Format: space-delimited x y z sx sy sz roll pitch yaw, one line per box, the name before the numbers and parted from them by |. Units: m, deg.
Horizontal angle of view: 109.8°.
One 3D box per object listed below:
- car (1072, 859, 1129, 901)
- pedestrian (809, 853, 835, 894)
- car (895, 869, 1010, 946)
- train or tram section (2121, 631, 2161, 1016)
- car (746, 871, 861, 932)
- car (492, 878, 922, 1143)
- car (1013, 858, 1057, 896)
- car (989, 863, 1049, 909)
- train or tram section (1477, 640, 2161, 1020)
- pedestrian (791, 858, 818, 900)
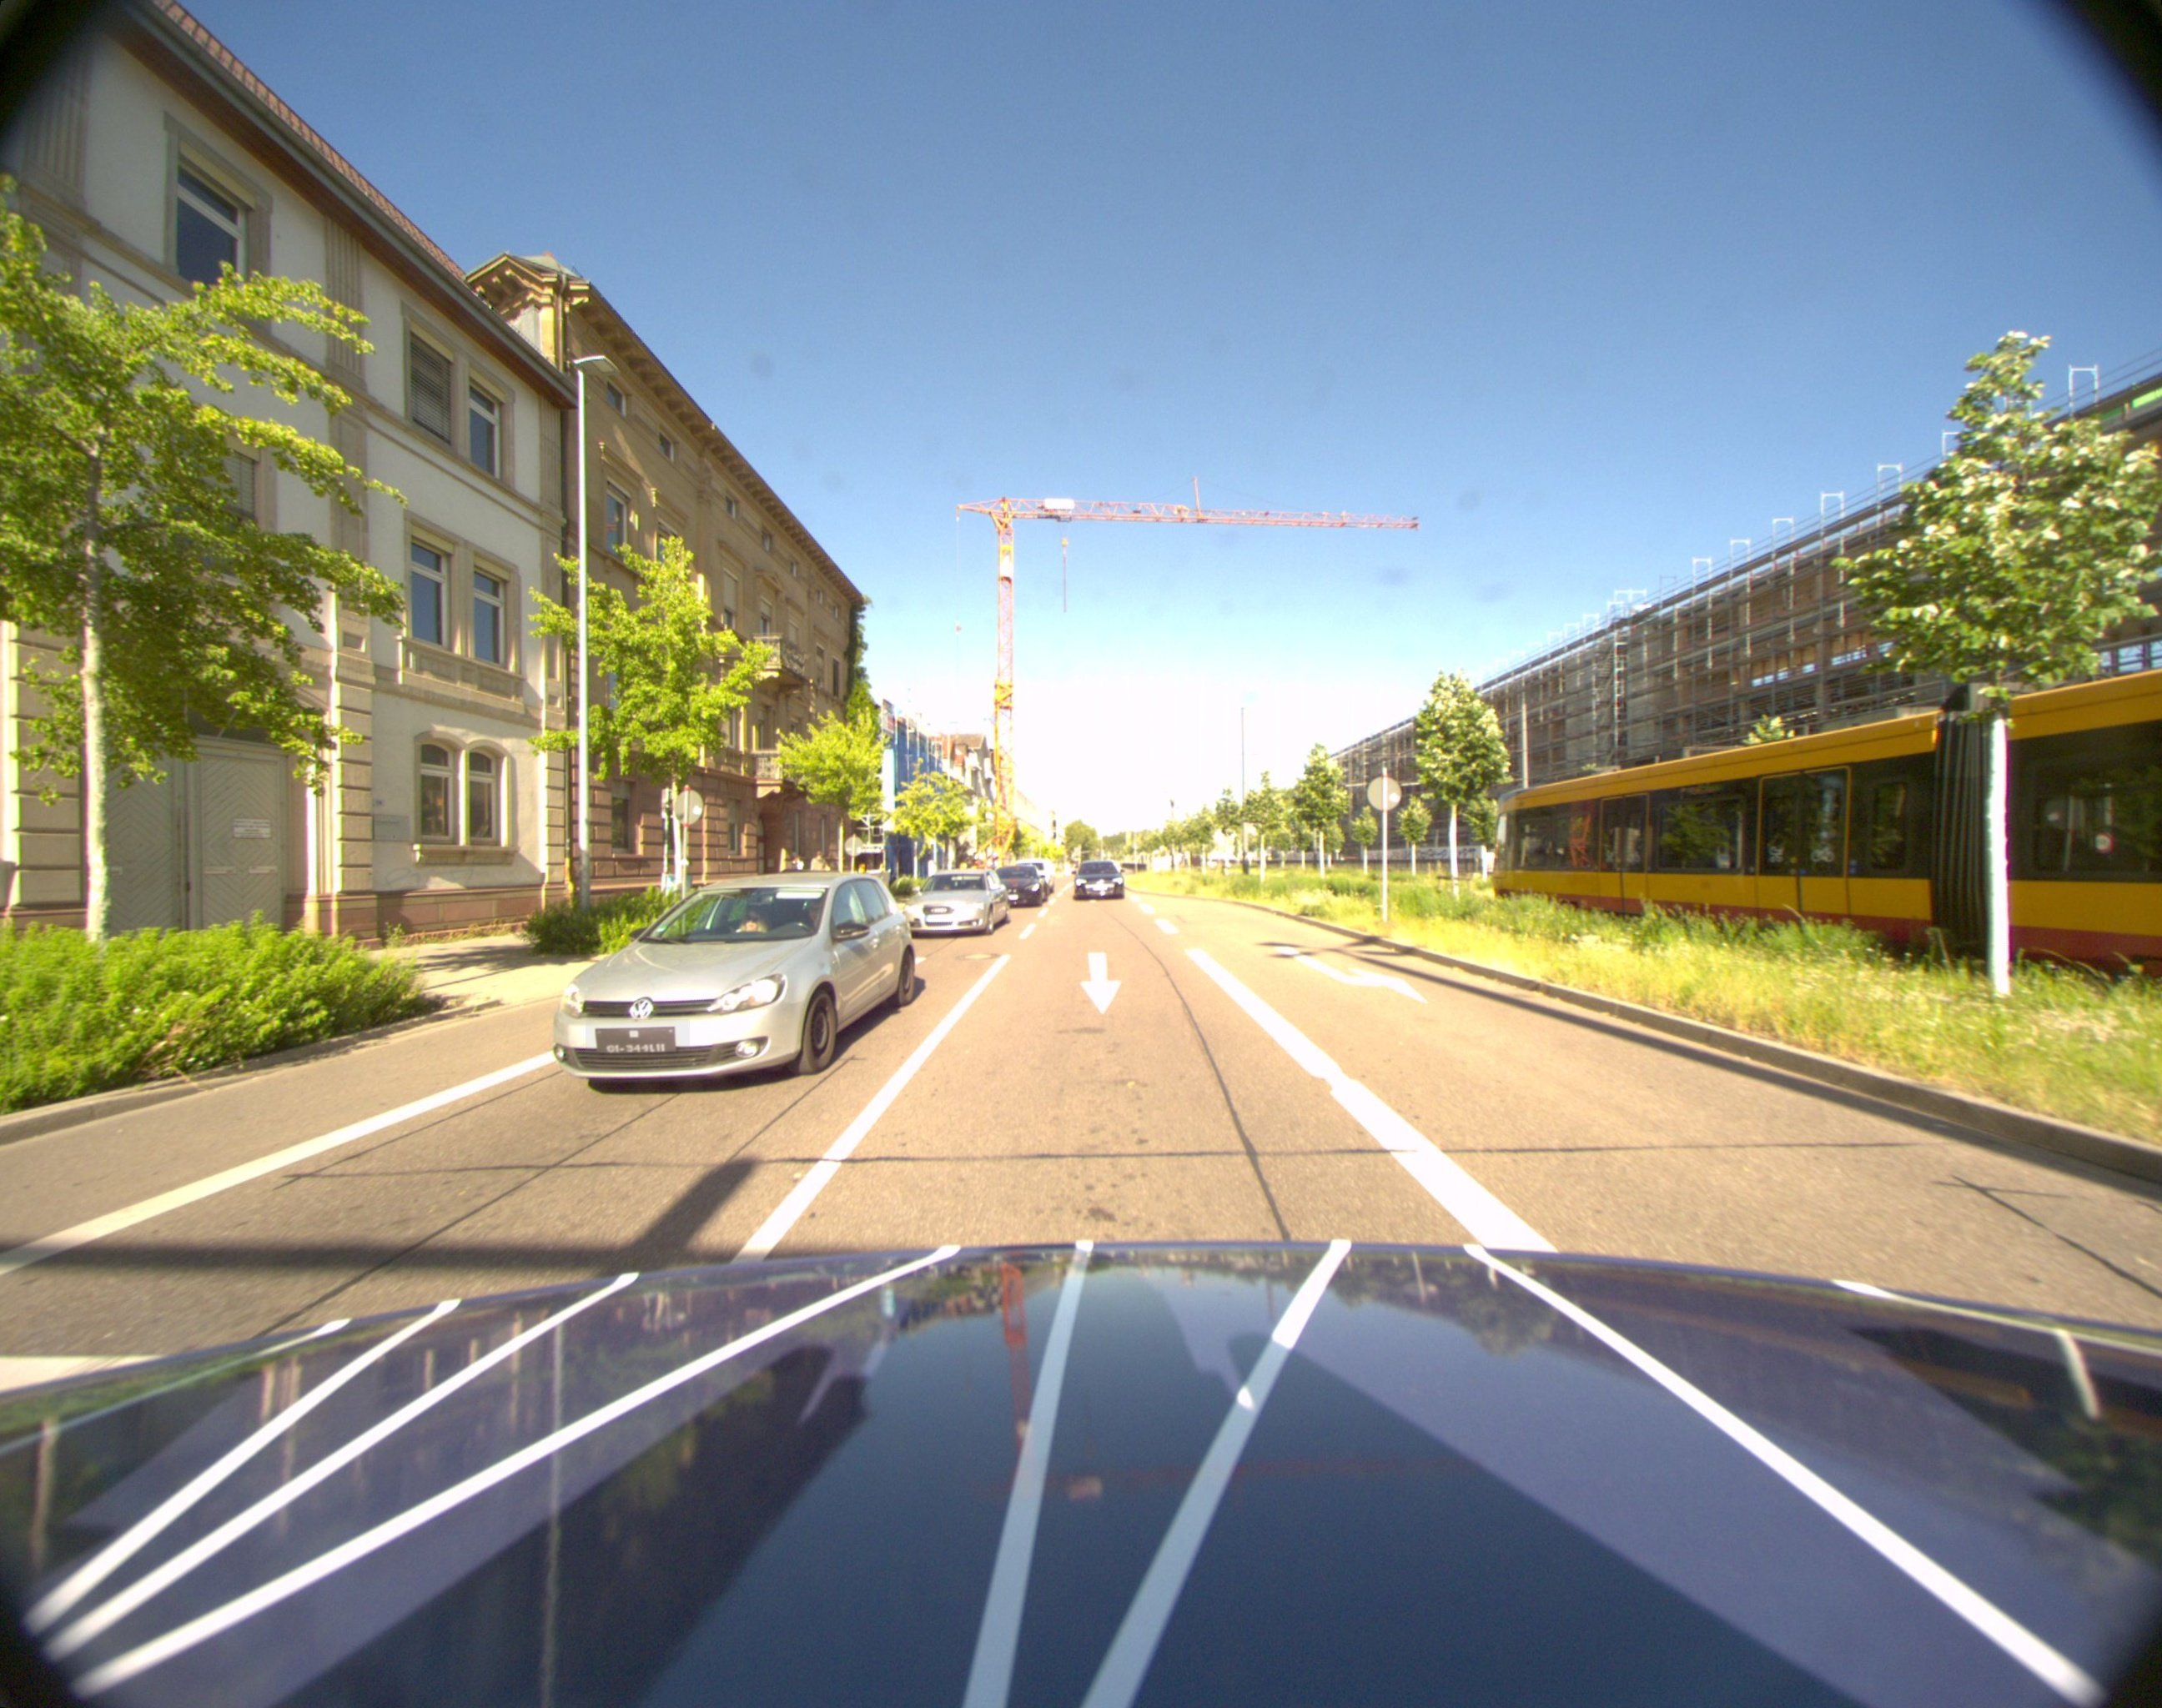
car | 0.666 0.945 29.442 1.999 1.493 3.999 0 0 -2
pedestrian | -9.969 0.739 29.244 0.669 1.552 0.906 -2 0 -1
car | -2.758 1.108 17.153 1.839 1.415 4.000 -2 0 1
train or tram section | 10.847 -0.325 1.750 1.998 3.647 11.320 -2 0 4
car | -7.377 1.210 20.614 1.610 1.434 4.000 0 0 1
car | -2.706 1.021 6.644 1.703 1.465 4.000 -2 0 1
car | -2.066 1.012 35.101 1.703 1.622 4.000 -2 0 1
car | -2.101 1.071 26.724 1.703 1.415 4.000 -2 0 1
train or tram section | 11.754 -0.231 14.310 1.998 3.647 14.156 -2 0 4
pedestrian | -10.657 0.954 29.257 0.669 1.552 0.906 -2 0 -1
